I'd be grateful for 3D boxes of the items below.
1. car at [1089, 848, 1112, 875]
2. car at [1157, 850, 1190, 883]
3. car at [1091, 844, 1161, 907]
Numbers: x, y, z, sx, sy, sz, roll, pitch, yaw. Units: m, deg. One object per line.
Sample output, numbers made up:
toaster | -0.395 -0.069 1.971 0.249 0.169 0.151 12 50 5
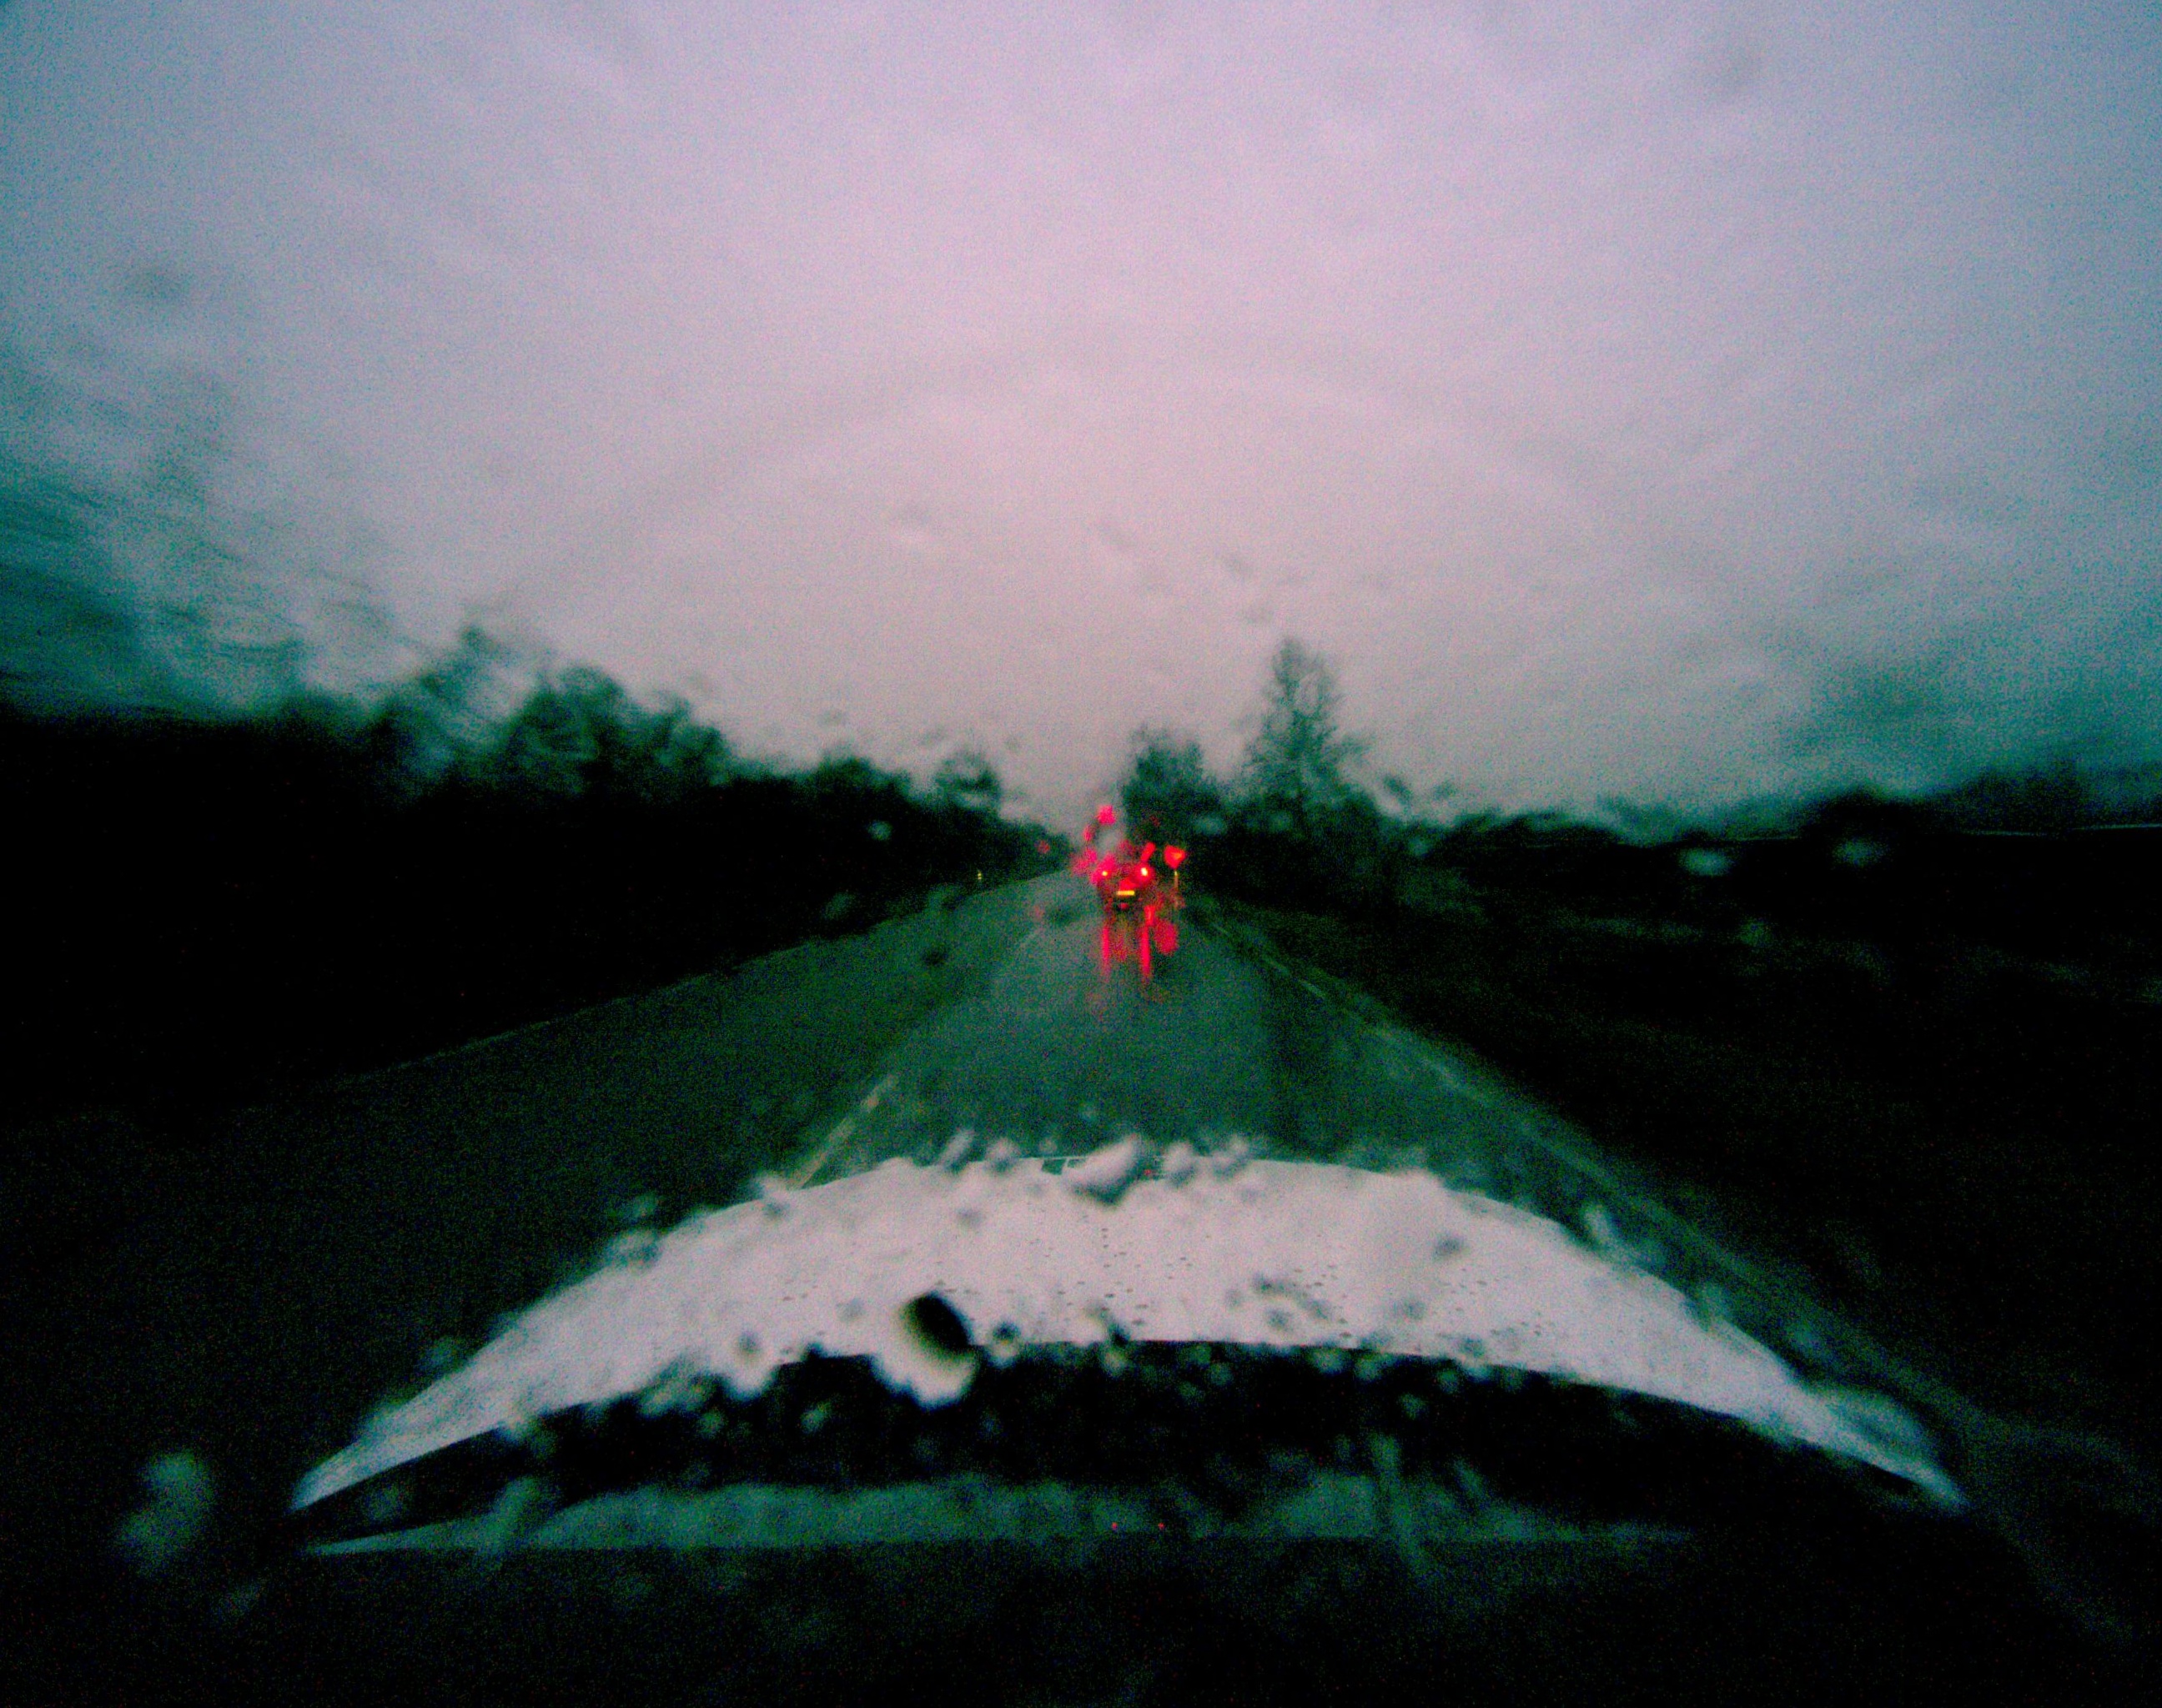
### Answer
car | 1.462 0.536 60.076 1.568 1.875 3.712 0 0 3
car | 4.564 0.602 40.432 1.556 1.591 3.493 0 0 5
car | 1.409 0.620 25.293 1.985 1.784 4.004 0 0 3
